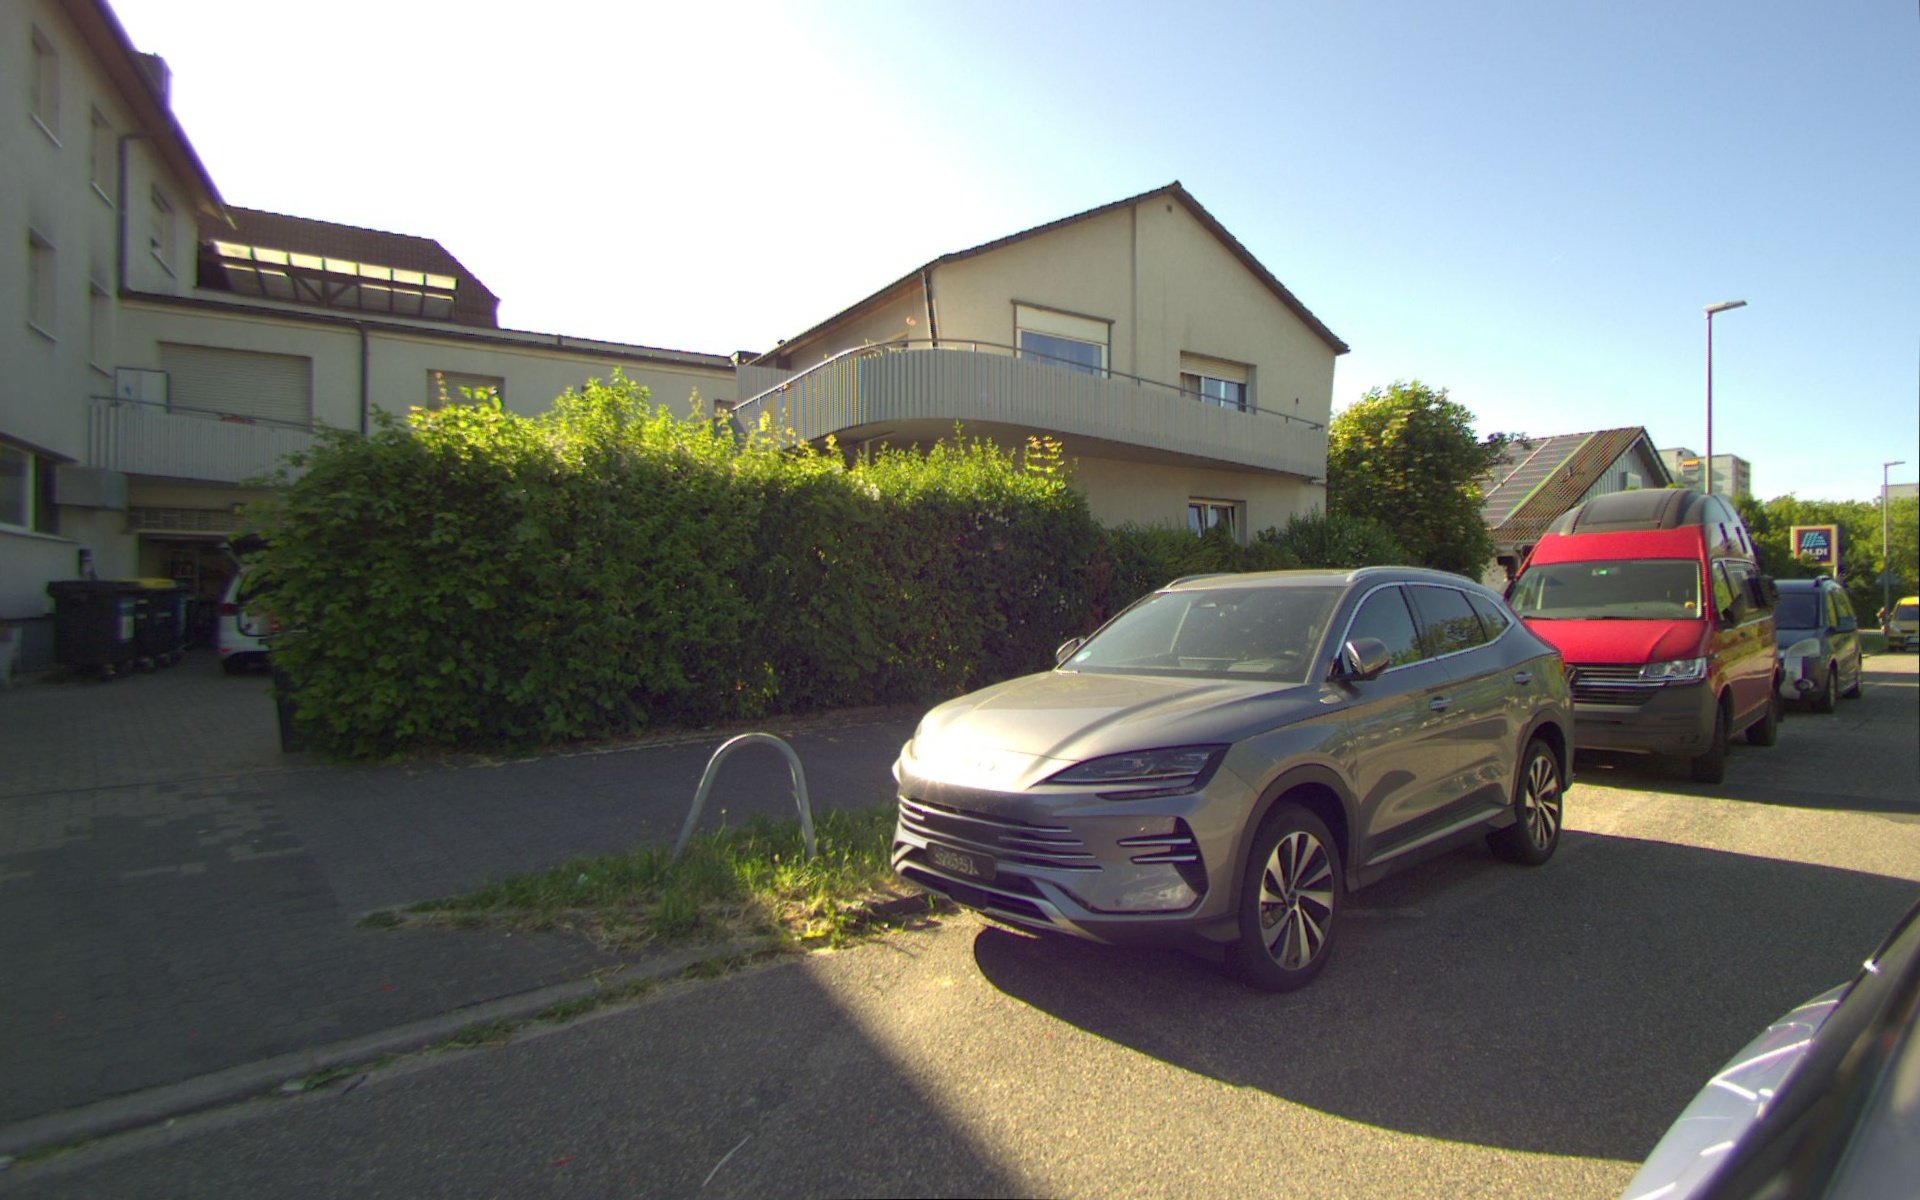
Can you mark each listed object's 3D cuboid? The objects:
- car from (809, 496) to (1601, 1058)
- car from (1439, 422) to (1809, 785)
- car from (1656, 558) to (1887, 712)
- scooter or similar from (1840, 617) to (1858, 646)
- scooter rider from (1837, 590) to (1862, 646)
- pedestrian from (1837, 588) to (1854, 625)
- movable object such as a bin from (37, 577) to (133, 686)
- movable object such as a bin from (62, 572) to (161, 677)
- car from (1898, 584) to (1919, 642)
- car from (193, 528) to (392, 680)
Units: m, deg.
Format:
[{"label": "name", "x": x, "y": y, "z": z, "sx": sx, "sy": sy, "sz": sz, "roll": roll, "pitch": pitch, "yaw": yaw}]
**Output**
[{"label": "car", "x": 1.622, "y": 0.556, "z": 5.439, "sx": 4.499, "sy": 1.760, "sz": 1.959, "roll": 0, "pitch": -1, "yaw": -43}, {"label": "car", "x": 6.740, "y": 0.032, "z": 9.974, "sx": 5.138, "sy": 2.678, "sz": 1.958, "roll": 0, "pitch": -1, "yaw": -45}, {"label": "car", "x": 11.754, "y": 0.455, "z": 14.547, "sx": 4.482, "sy": 1.872, "sz": 1.859, "roll": 0, "pitch": -3, "yaw": -42}, {"label": "scooter or similar", "x": 33.566, "y": 1.170, "z": 38.209, "sx": 0.456, "sy": 1.043, "sz": 1.033, "roll": 4, "pitch": 3, "yaw": 42}, {"label": "scooter rider", "x": 33.565, "y": 0.674, "z": 38.195, "sx": 0.597, "sy": 2.038, "sz": 0.479, "roll": 4, "pitch": 2, "yaw": 43}, {"label": "pedestrian", "x": 42.960, "y": 0.332, "z": 49.097, "sx": 0.580, "sy": 1.791, "sz": 0.540, "roll": 0, "pitch": -1, "yaw": -42}, {"label": "movable object such as a bin", "x": -11.323, "y": 0.392, "z": 13.132, "sx": 0.767, "sy": 1.359, "sz": 0.803, "roll": 0, "pitch": -1, "yaw": -28}, {"label": "movable object such as a bin", "x": -11.683, "y": 0.323, "z": 13.965, "sx": 0.862, "sy": 1.396, "sz": 0.837, "roll": 0, "pitch": -1, "yaw": -26}, {"label": "car", "x": 31.231, "y": 0.396, "z": 32.251, "sx": 3.913, "sy": 1.799, "sz": 1.619, "roll": 0, "pitch": -1, "yaw": -42}, {"label": "car", "x": -9.940, "y": 0.002, "z": 15.399, "sx": 1.730, "sy": 1.984, "sz": 4.009, "roll": 1, "pitch": 1, "yaw": -22}]
